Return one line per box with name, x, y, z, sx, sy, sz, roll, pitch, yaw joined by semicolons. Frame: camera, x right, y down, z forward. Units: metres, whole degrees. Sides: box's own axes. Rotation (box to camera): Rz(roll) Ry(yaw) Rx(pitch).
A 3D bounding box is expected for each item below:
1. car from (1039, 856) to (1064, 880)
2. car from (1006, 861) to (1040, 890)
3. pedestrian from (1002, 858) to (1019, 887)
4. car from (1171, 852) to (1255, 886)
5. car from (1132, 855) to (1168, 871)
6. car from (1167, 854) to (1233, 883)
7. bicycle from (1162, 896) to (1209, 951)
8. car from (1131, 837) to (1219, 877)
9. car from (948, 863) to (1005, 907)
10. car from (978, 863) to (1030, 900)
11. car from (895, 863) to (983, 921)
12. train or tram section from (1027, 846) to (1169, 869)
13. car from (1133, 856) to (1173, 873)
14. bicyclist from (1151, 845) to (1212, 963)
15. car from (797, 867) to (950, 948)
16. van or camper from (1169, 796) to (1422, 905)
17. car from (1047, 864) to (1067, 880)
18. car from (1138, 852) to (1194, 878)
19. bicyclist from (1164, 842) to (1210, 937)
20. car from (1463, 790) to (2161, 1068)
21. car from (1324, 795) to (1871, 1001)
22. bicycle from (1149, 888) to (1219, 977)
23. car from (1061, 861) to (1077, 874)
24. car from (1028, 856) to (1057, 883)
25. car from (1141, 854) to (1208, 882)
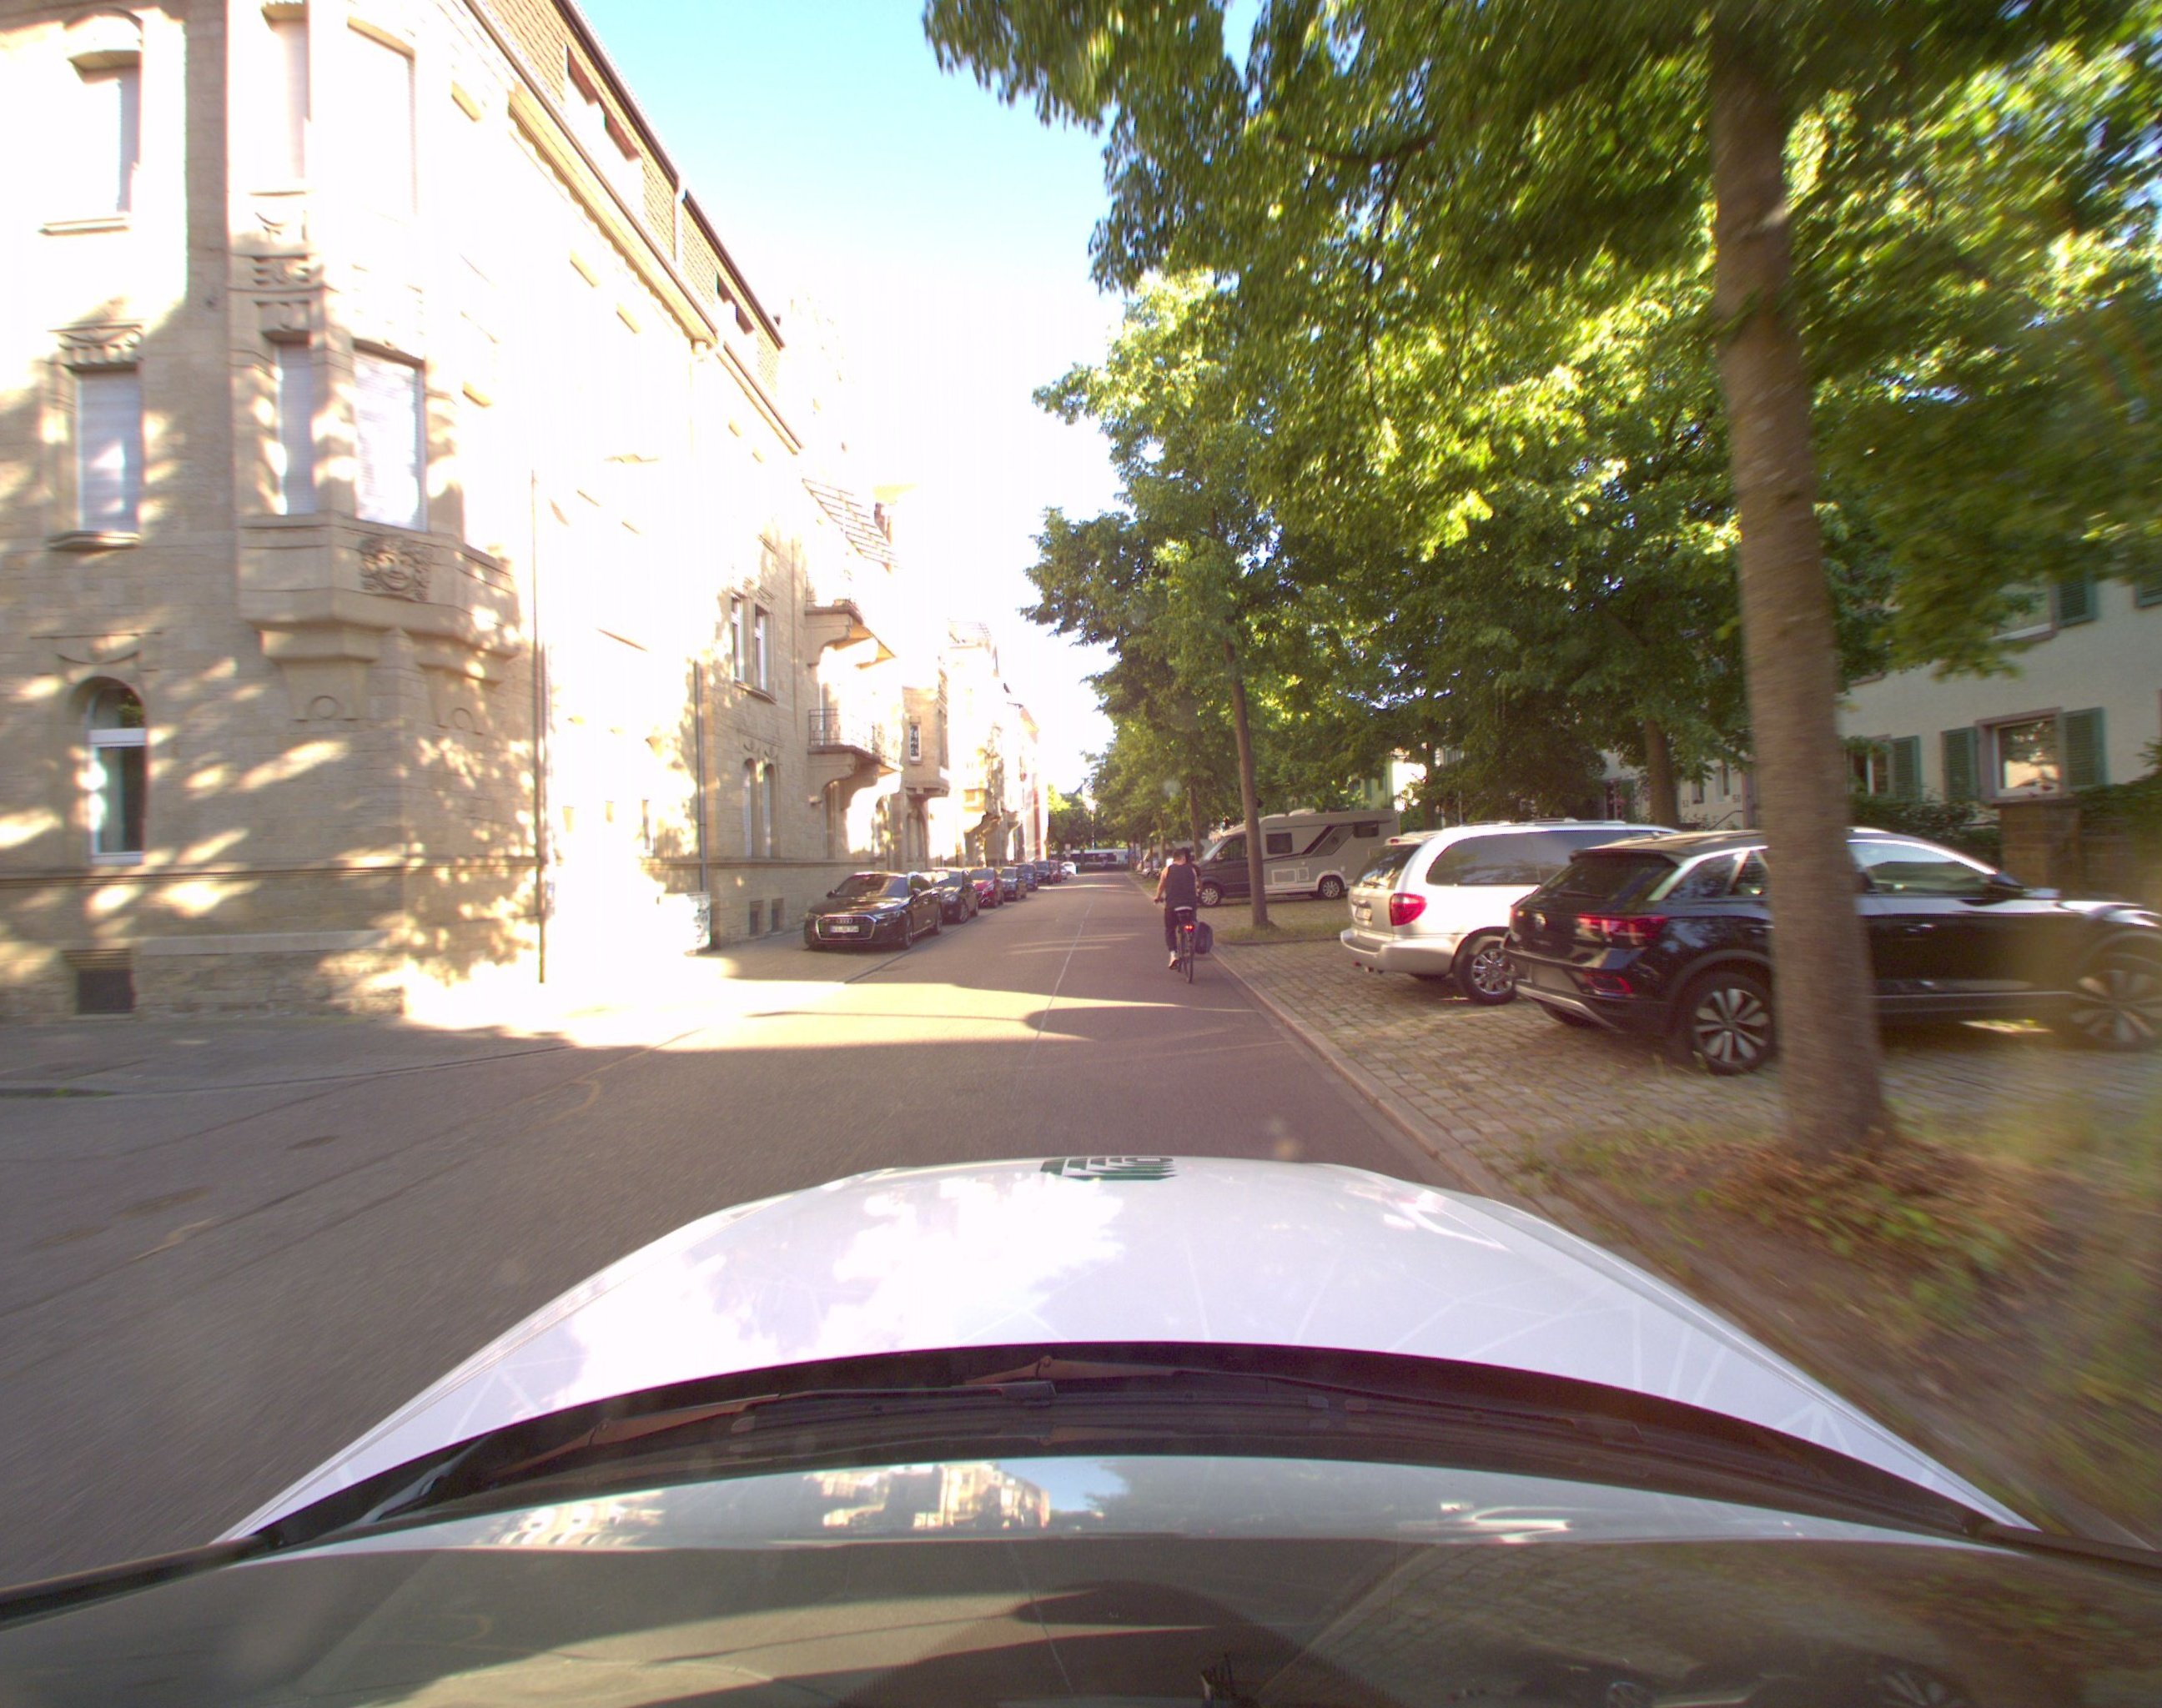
car;-2.325;1.117;65.256;1.682;1.826;4.275;1;0;2
car;-3.196;1.150;45.144;1.590;1.489;2.736;2;0;0
pedestrian;-4.401;1.157;50.881;0.934;1.742;0.735;0;-1;2
car;6.906;0.791;42.920;4.205;1.600;1.692;-2;-2;3
car;7.785;1.053;92.532;3.975;1.804;1.833;0;-1;-1
car;7.182;0.875;49.359;3.757;1.600;1.692;-2;-2;3
bicycle;1.829;1.201;14.450;0.631;0.799;1.833;-2;0;2
car;8.026;0.273;70.240;7.126;2.978;2.463;-3;-1;-1
car;-3.794;1.094;30.109;1.624;1.453;3.836;0;0;-1
car;-3.349;1.170;36.133;1.669;1.430;4.553;1;0;2
car;-3.863;1.012;22.831;1.690;1.453;4.027;-1;-1;0
train or tram section;3.076;0.641;136.183;23.889;3.709;4.256;0;-1;-21
car;7.445;1.103;84.646;3.975;1.804;1.833;0;-1;-1
bicyclist;1.360;0.661;11.145;0.727;1.548;0.884;0;-1;1
car;-4.138;1.001;17.121;1.804;1.427;4.899;1;-1;2
van or camper;6.461;-0.099;25.398;7.116;2.647;2.467;-5;-1;3
car;-2.193;1.677;76.398;1.577;1.343;4.134;1;0;2
car;6.512;0.866;62.840;4.070;1.650;1.640;-5;-1;-1
bicyclist;1.856;0.612;14.389;0.686;1.627;0.998;0;-1;1
car;5.278;0.466;5.996;4.052;1.476;1.695;-5;0;2
car;5.202;0.434;8.746;4.600;1.709;1.835;-4;-1;3
bicycle;1.358;1.014;11.075;0.735;1.054;1.956;0;-1;1
car;-1.350;1.541;93.838;1.577;1.375;4.134;1;0;2
car;-2.700;1.087;58.244;1.634;1.783;4.357;1;0;2
car;5.889;0.877;51.822;4.121;1.600;1.704;-2;-2;3
